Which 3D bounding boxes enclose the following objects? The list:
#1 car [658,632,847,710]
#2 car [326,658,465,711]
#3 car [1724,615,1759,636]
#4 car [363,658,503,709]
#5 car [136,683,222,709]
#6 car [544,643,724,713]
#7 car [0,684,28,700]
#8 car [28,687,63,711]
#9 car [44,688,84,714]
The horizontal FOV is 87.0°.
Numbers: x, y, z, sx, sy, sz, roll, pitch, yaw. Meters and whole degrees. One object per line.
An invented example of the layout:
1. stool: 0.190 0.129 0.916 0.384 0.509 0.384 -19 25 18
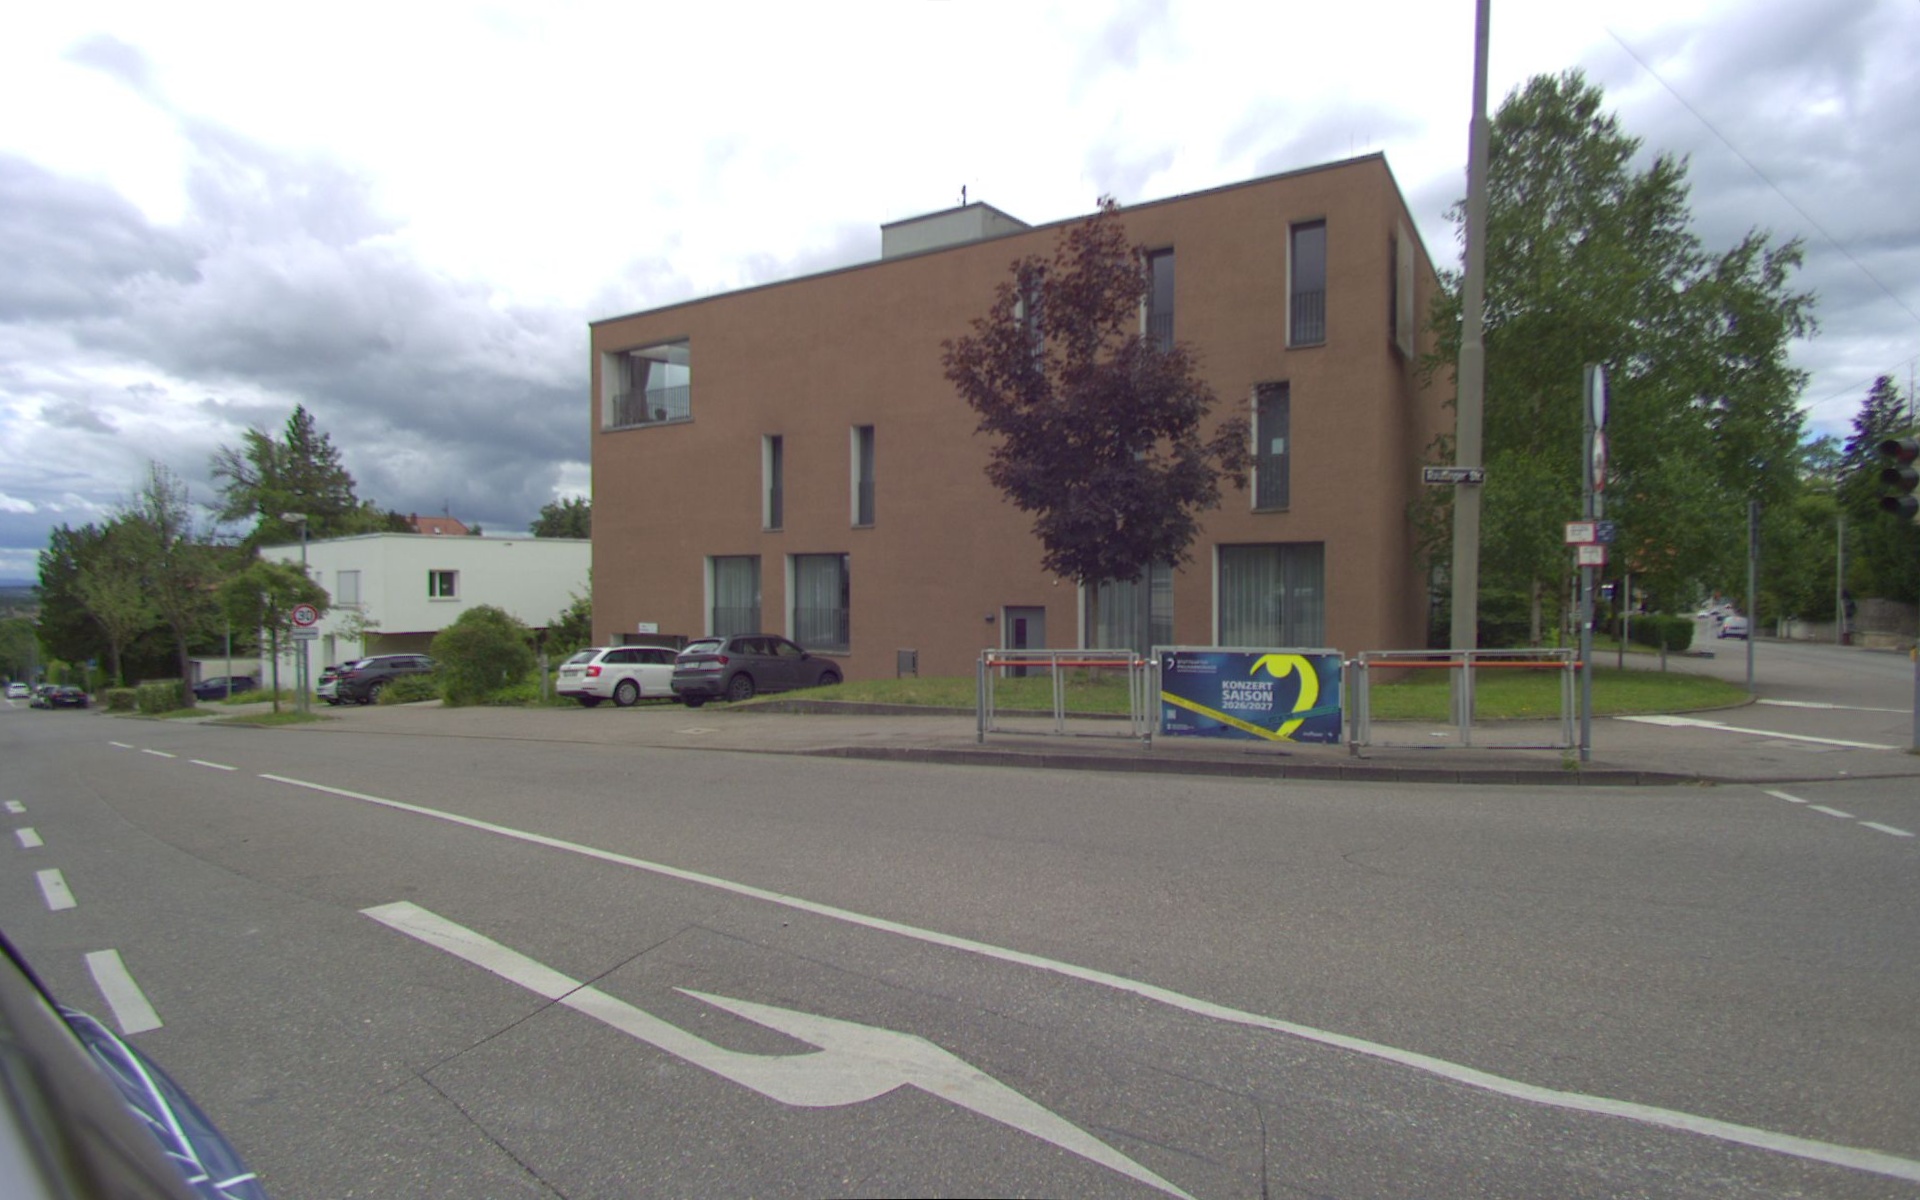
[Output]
1. car: -4.531 1.531 22.532 1.724 1.497 3.950 -5 -4 37
2. car: -19.981 2.966 35.920 1.793 1.608 3.943 -6 -4 43
3. car: 64.561 2.112 83.682 1.807 1.724 3.993 -1 -2 31
4. car: -18.241 2.883 35.138 1.727 1.497 3.943 -6 -4 43
5. car: -46.985 5.751 60.918 3.939 1.296 1.665 0 -4 -43
6. car: -8.003 1.896 25.111 1.724 1.497 3.950 -5 -4 37
7. car: -95.926 9.325 102.327 4.362 1.432 1.861 -3 -3 38
8. car: -61.571 6.645 68.128 1.638 1.432 4.371 0 -4 -44
9. car: -54.947 6.185 62.050 1.638 1.432 4.003 0 -4 -44
